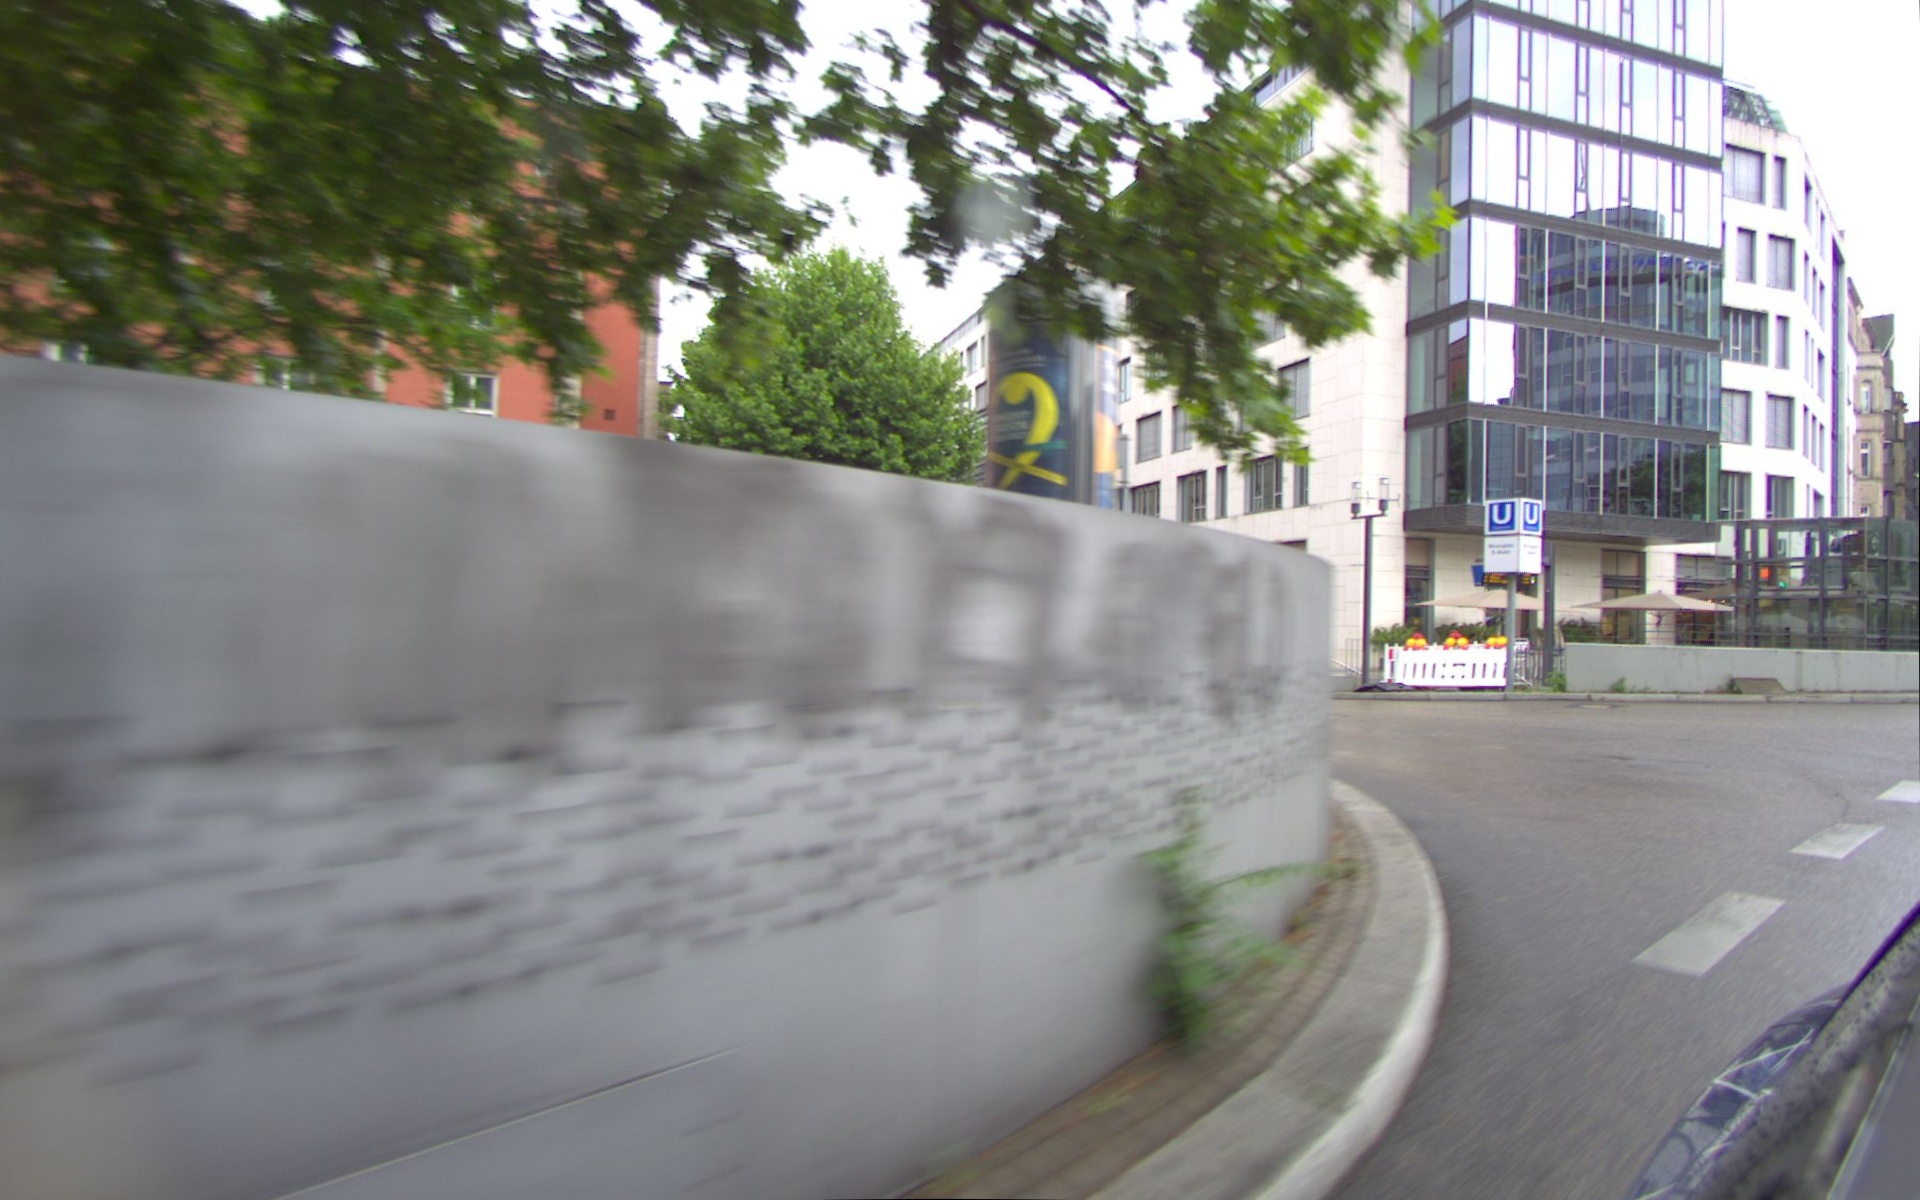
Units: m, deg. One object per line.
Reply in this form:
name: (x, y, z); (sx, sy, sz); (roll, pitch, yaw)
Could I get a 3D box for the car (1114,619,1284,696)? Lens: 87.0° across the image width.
car: (5.521, 1.371, 23.965); (1.824, 1.642, 4.115); (0, -4, -22)

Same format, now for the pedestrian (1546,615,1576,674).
pedestrian: (19.849, 1.457, 33.409); (0.629, 1.918, 0.586); (0, 0, -3)

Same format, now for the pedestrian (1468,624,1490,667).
pedestrian: (17.499, 1.532, 34.132); (0.468, 1.421, 0.437); (0, 0, -19)

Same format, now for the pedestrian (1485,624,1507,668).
pedestrian: (17.846, 1.535, 33.693); (0.468, 1.421, 0.437); (0, 0, -19)
